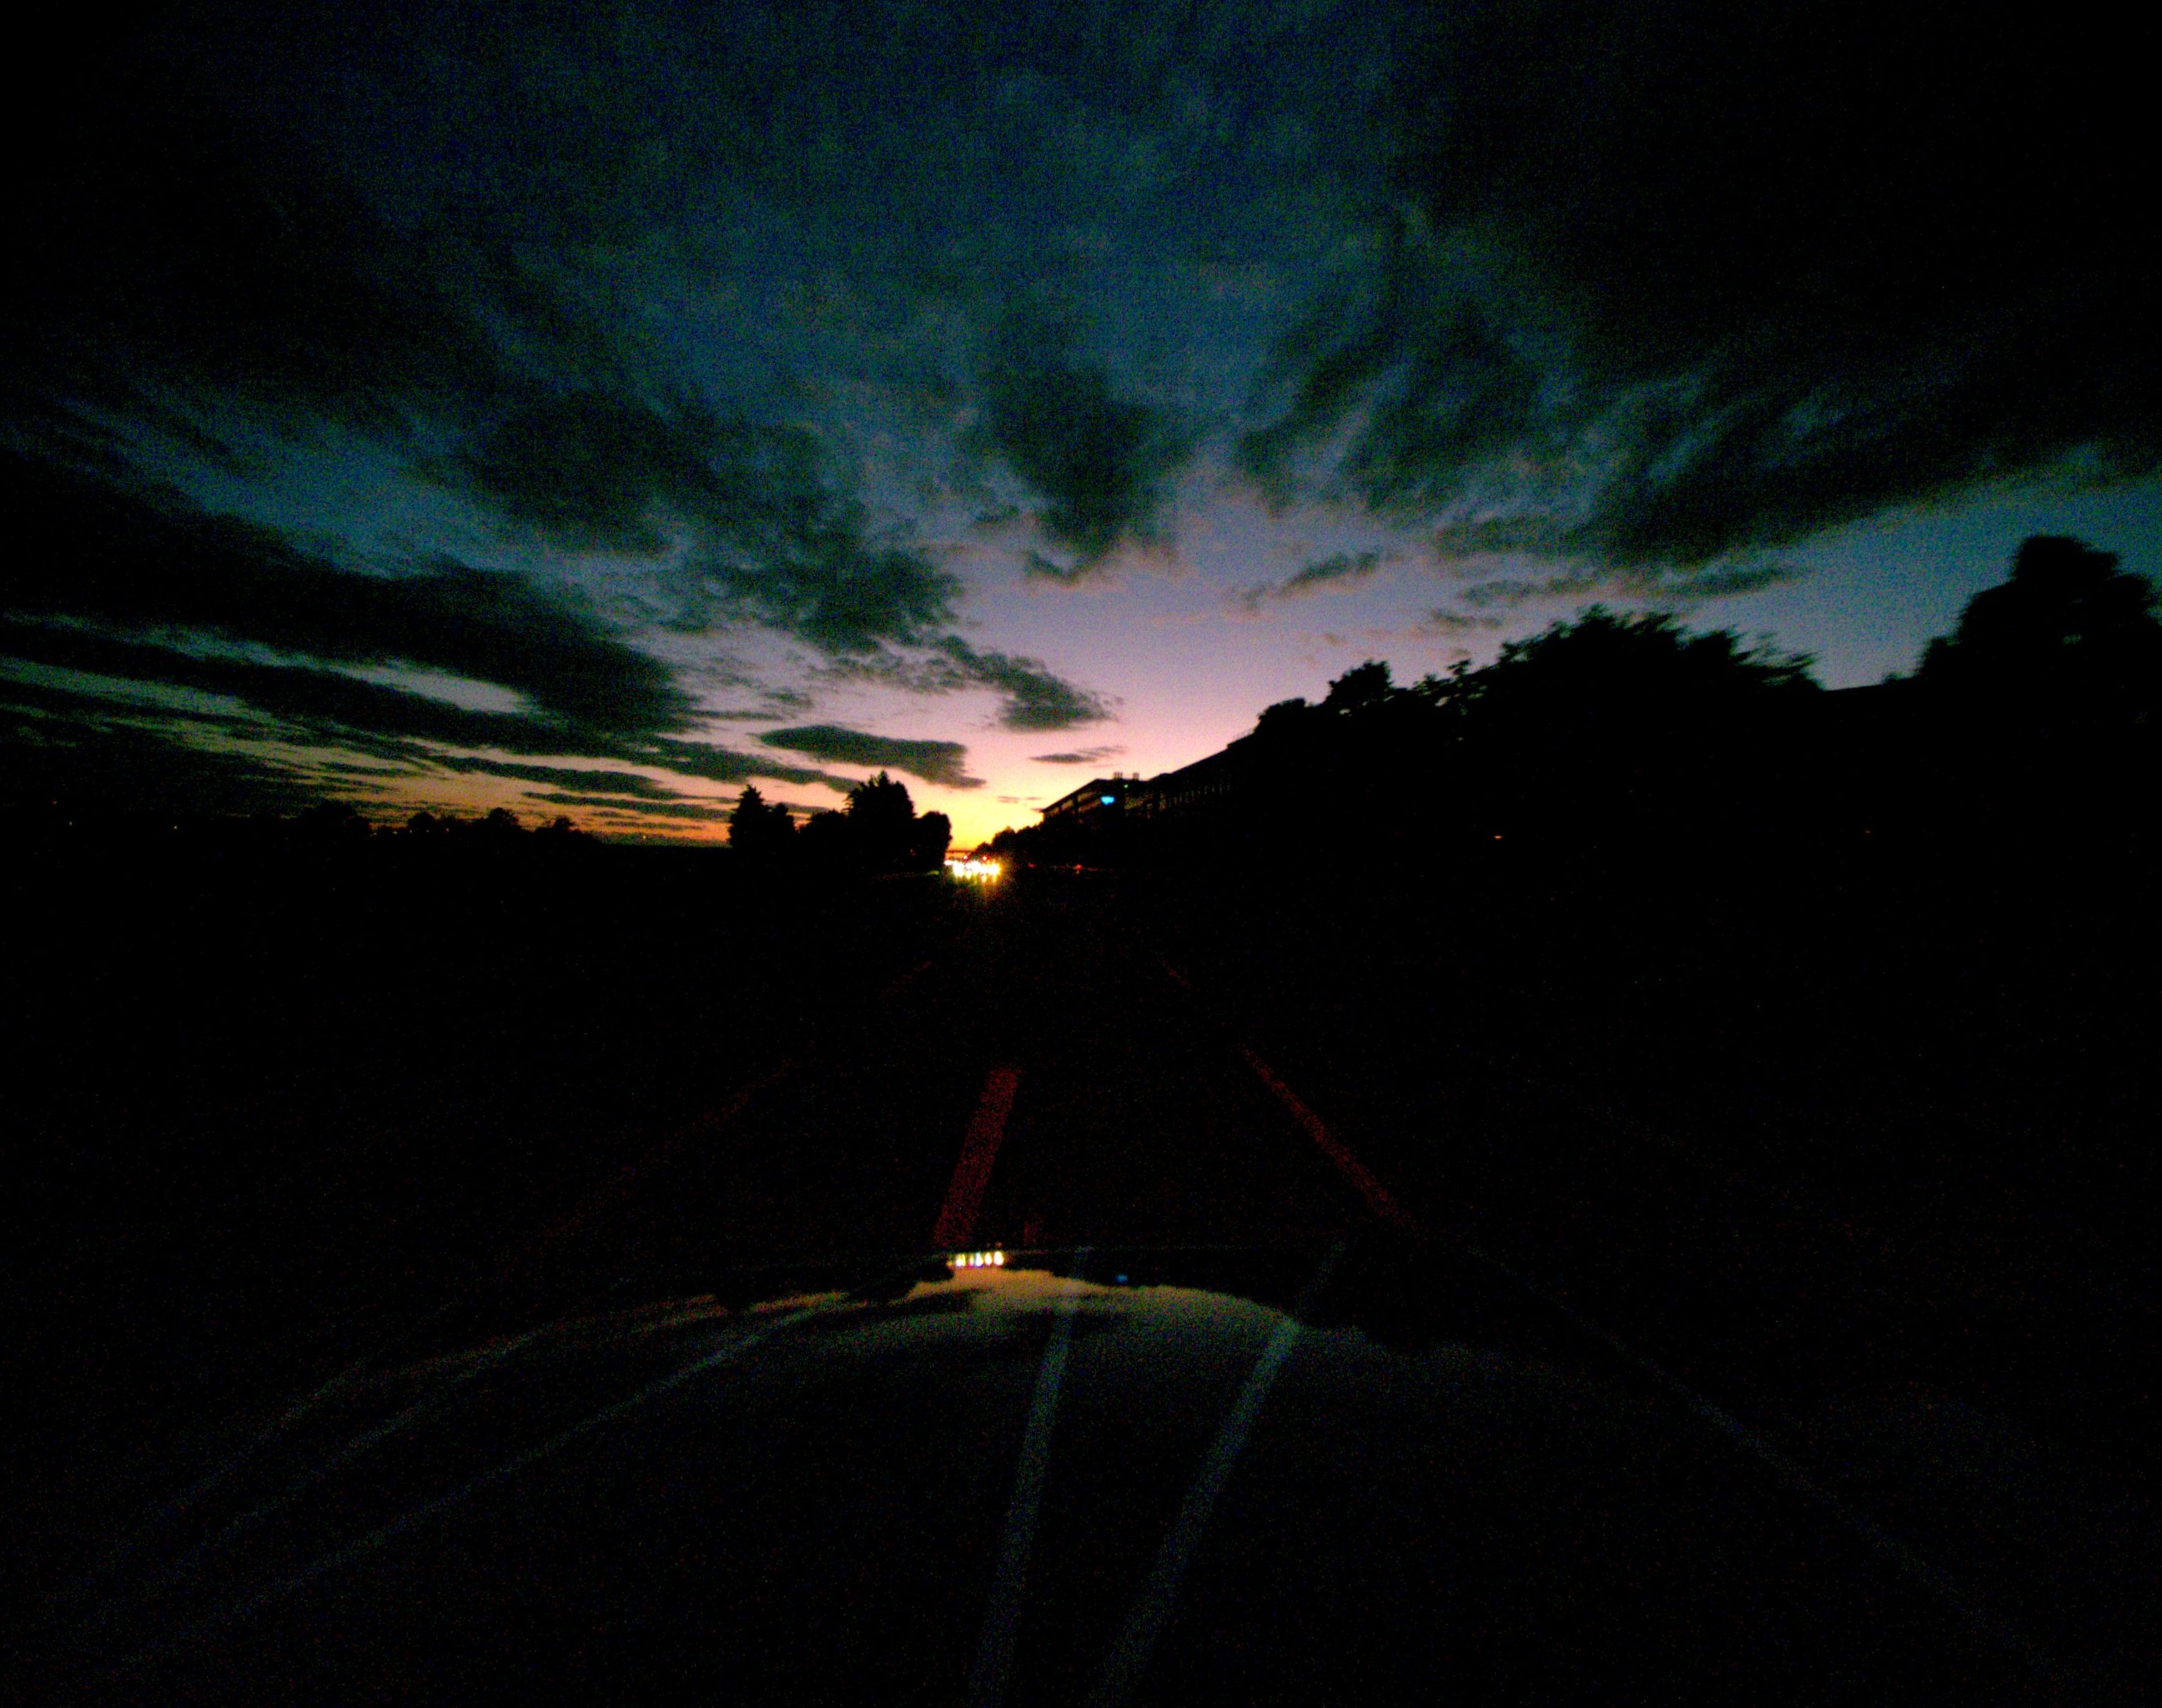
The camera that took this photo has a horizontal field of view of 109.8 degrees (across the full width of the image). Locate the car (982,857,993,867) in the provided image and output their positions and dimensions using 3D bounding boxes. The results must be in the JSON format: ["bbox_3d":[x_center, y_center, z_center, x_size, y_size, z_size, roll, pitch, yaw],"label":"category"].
[{"bbox_3d":[-19.283,1.618,156.180,1.862,2.002,3.999,-2,0,-3],"label":"car"}]

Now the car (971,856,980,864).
[{"bbox_3d":[-23.774,1.381,171.418,1.834,1.739,3.848,-2,0,-7],"label":"car"}]

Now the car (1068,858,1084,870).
[{"bbox_3d":[-0.721,1.442,107.093,1.706,1.613,4.304,-1,0,-8],"label":"car"}]

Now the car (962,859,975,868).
[{"bbox_3d":[-20.644,1.768,139.708,1.999,1.574,3.999,-2,0,-3],"label":"car"}]

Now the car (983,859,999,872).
[{"bbox_3d":[-10.510,1.368,88.659,1.757,1.447,3.801,-2,0,-9],"label":"car"}]
